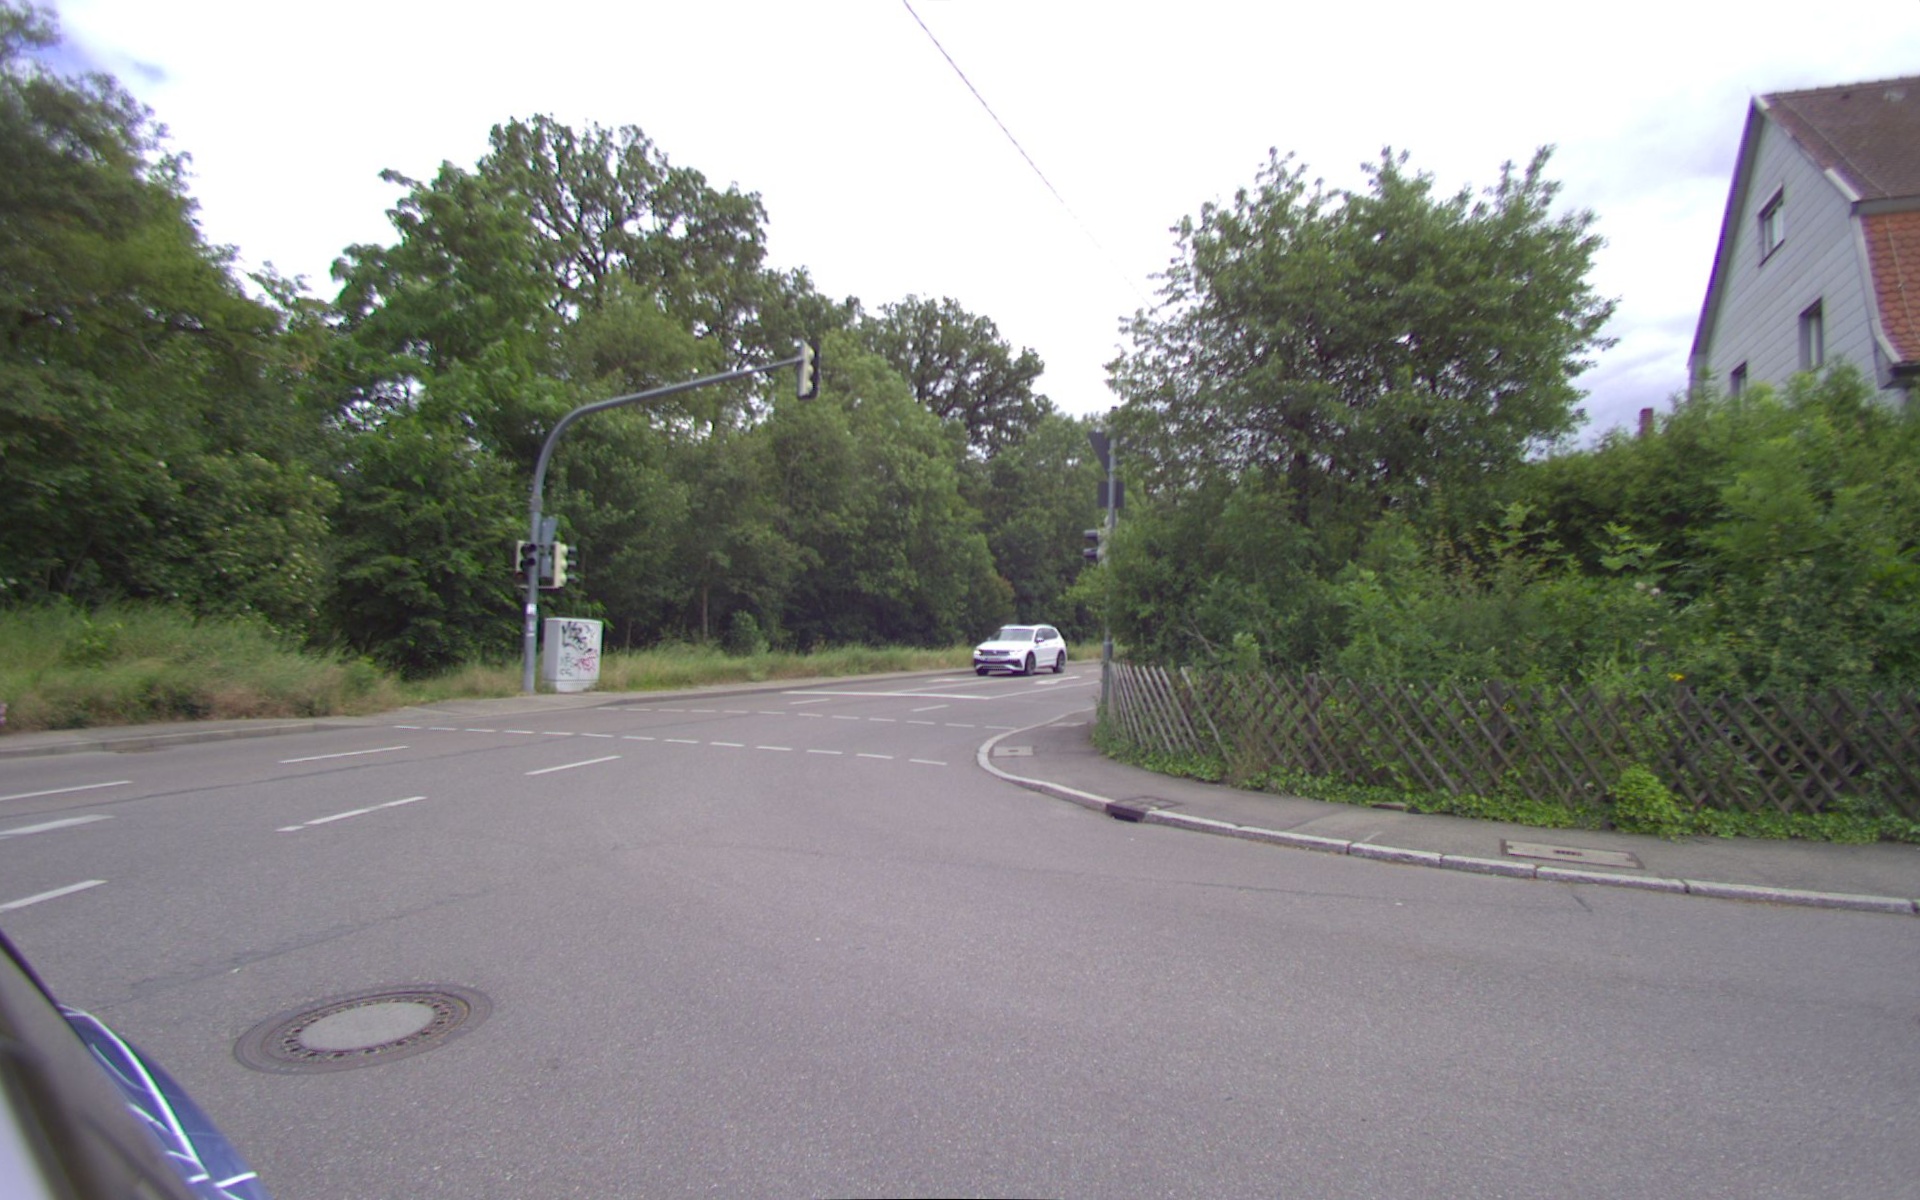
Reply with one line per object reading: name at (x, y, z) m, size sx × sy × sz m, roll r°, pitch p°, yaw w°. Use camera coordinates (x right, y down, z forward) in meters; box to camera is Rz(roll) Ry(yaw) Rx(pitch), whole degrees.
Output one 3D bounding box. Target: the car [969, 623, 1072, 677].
car at (2.072, 1.650, 33.432) m, size 1.853 × 1.640 × 4.614 m, roll -2°, pitch -3°, yaw 25°
